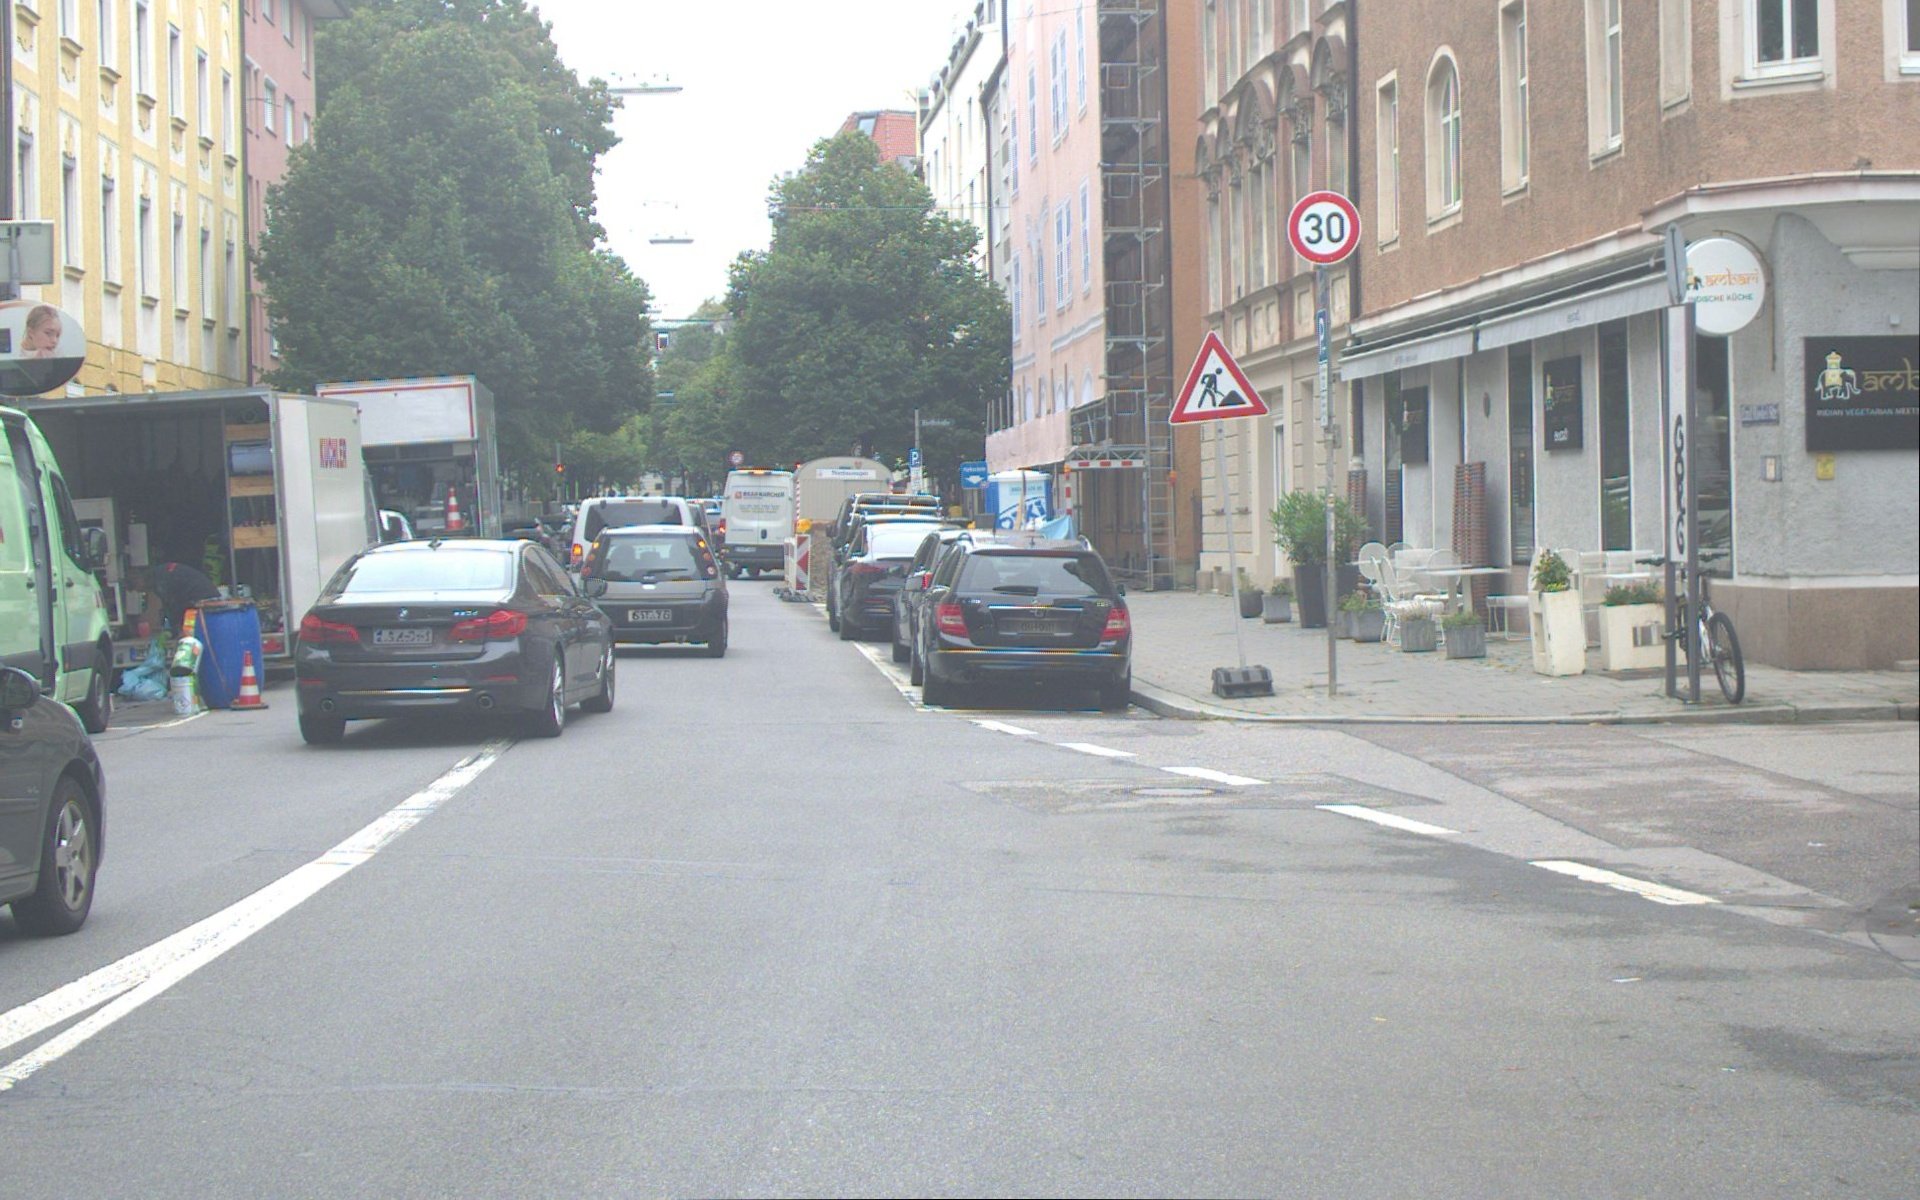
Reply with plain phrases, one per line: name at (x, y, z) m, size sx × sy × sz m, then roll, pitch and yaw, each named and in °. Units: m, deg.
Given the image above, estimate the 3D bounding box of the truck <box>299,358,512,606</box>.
truck at (-9.287, -1.967, 58.261) m, size 3.012 × 3.938 × 6.997 m, roll 0°, pitch 1°, yaw -5°

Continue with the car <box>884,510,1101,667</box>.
car at (0.272, -0.163, 35.777) m, size 1.844 × 1.424 × 4.141 m, roll 2°, pitch 2°, yaw -5°

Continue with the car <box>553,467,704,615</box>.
car at (-4.847, -0.913, 50.727) m, size 1.990 × 2.068 × 4.141 m, roll -1°, pitch 2°, yaw -3°

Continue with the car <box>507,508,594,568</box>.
car at (-10.093, -1.551, 84.996) m, size 1.939 × 1.443 × 3.867 m, roll 0°, pitch 1°, yaw -4°

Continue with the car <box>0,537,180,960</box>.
car at (-4.231, 0.538, 11.894) m, size 1.759 × 1.456 × 4.074 m, roll -1°, pitch 1°, yaw 6°

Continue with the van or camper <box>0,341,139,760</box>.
van or camper at (-7.877, -0.389, 24.904) m, size 2.600 × 2.830 × 6.187 m, roll -1°, pitch 2°, yaw -3°

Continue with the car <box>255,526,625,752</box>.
car at (-3.787, 0.212, 25.911) m, size 1.990 × 1.424 × 4.906 m, roll -1°, pitch 2°, yaw 0°

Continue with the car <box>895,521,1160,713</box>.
car at (0.505, 0.092, 29.854) m, size 1.844 × 1.424 × 4.184 m, roll 2°, pitch 2°, yaw -5°

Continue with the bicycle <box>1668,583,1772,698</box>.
bicycle at (5.631, 0.292, 25.531) m, size 0.456 × 0.802 × 1.327 m, roll 0°, pitch 1°, yaw -1°

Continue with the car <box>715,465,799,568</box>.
car at (-5.009, -2.076, 85.306) m, size 1.939 × 2.471 × 4.783 m, roll 0°, pitch 1°, yaw -2°

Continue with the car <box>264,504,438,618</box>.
car at (-8.902, -0.601, 50.543) m, size 1.990 × 1.605 × 4.141 m, roll 0°, pitch 1°, yaw -3°

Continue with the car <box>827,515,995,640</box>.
car at (-0.685, -0.332, 44.631) m, size 1.844 × 1.424 × 4.307 m, roll 2°, pitch 2°, yaw -5°

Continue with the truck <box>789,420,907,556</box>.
truck at (-2.599, -2.529, 78.359) m, size 2.491 × 2.963 × 5.328 m, roll 0°, pitch 1°, yaw -4°

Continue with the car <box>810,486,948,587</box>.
car at (-1.278, -0.999, 52.489) m, size 1.990 × 1.424 × 4.141 m, roll -1°, pitch 2°, yaw -3°

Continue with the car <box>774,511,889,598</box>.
car at (-2.343, -0.845, 62.029) m, size 1.990 × 1.424 × 4.141 m, roll -1°, pitch 2°, yaw -3°

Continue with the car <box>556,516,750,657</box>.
car at (-3.411, -0.196, 38.832) m, size 1.990 × 1.424 × 4.141 m, roll -1°, pitch 2°, yaw -3°

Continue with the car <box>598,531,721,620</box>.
car at (-5.319, -0.458, 61.315) m, size 1.990 × 1.424 × 4.141 m, roll -1°, pitch 2°, yaw -3°

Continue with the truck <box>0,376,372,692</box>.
truck at (-7.789, -0.746, 35.185) m, size 2.773 × 2.863 × 7.203 m, roll -1°, pitch 2°, yaw -4°
